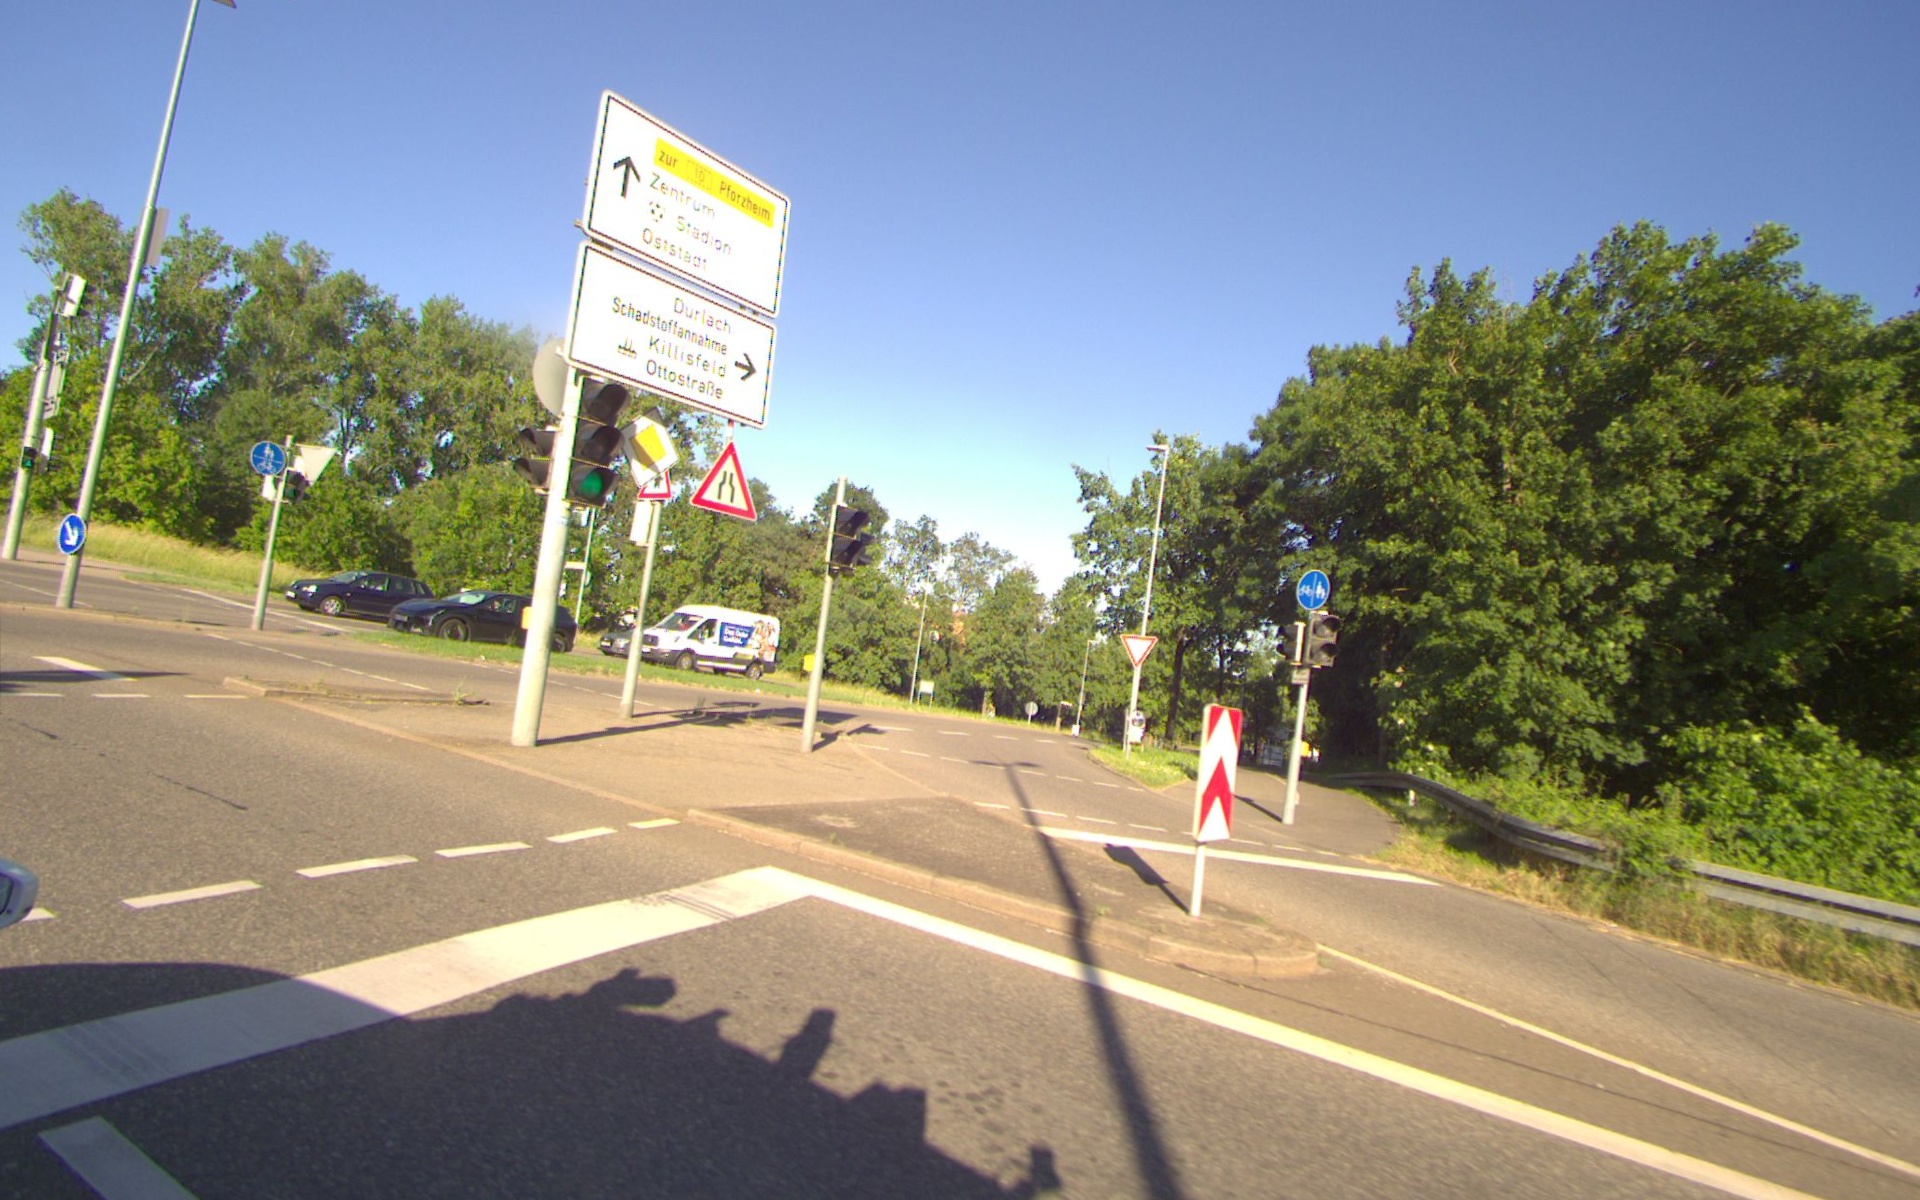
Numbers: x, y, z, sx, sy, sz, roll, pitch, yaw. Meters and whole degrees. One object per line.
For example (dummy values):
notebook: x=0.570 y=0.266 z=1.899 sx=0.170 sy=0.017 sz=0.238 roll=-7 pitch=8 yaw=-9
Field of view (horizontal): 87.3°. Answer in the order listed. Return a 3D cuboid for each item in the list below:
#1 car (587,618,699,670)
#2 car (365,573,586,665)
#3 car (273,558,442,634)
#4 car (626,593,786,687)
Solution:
car: x=-12.054 y=1.697 z=38.455 sx=1.587 sy=1.401 sz=3.696 roll=6 pitch=-5 yaw=38
car: x=-11.925 y=0.527 z=25.091 sx=1.967 sy=1.479 sz=4.472 roll=7 pitch=-5 yaw=33
car: x=-17.553 y=-0.086 z=29.469 sx=1.667 sy=1.417 sz=3.758 roll=9 pitch=-5 yaw=34
car: x=-8.976 y=1.516 z=36.065 sx=2.074 sy=2.432 sz=5.288 roll=7 pitch=-6 yaw=32
